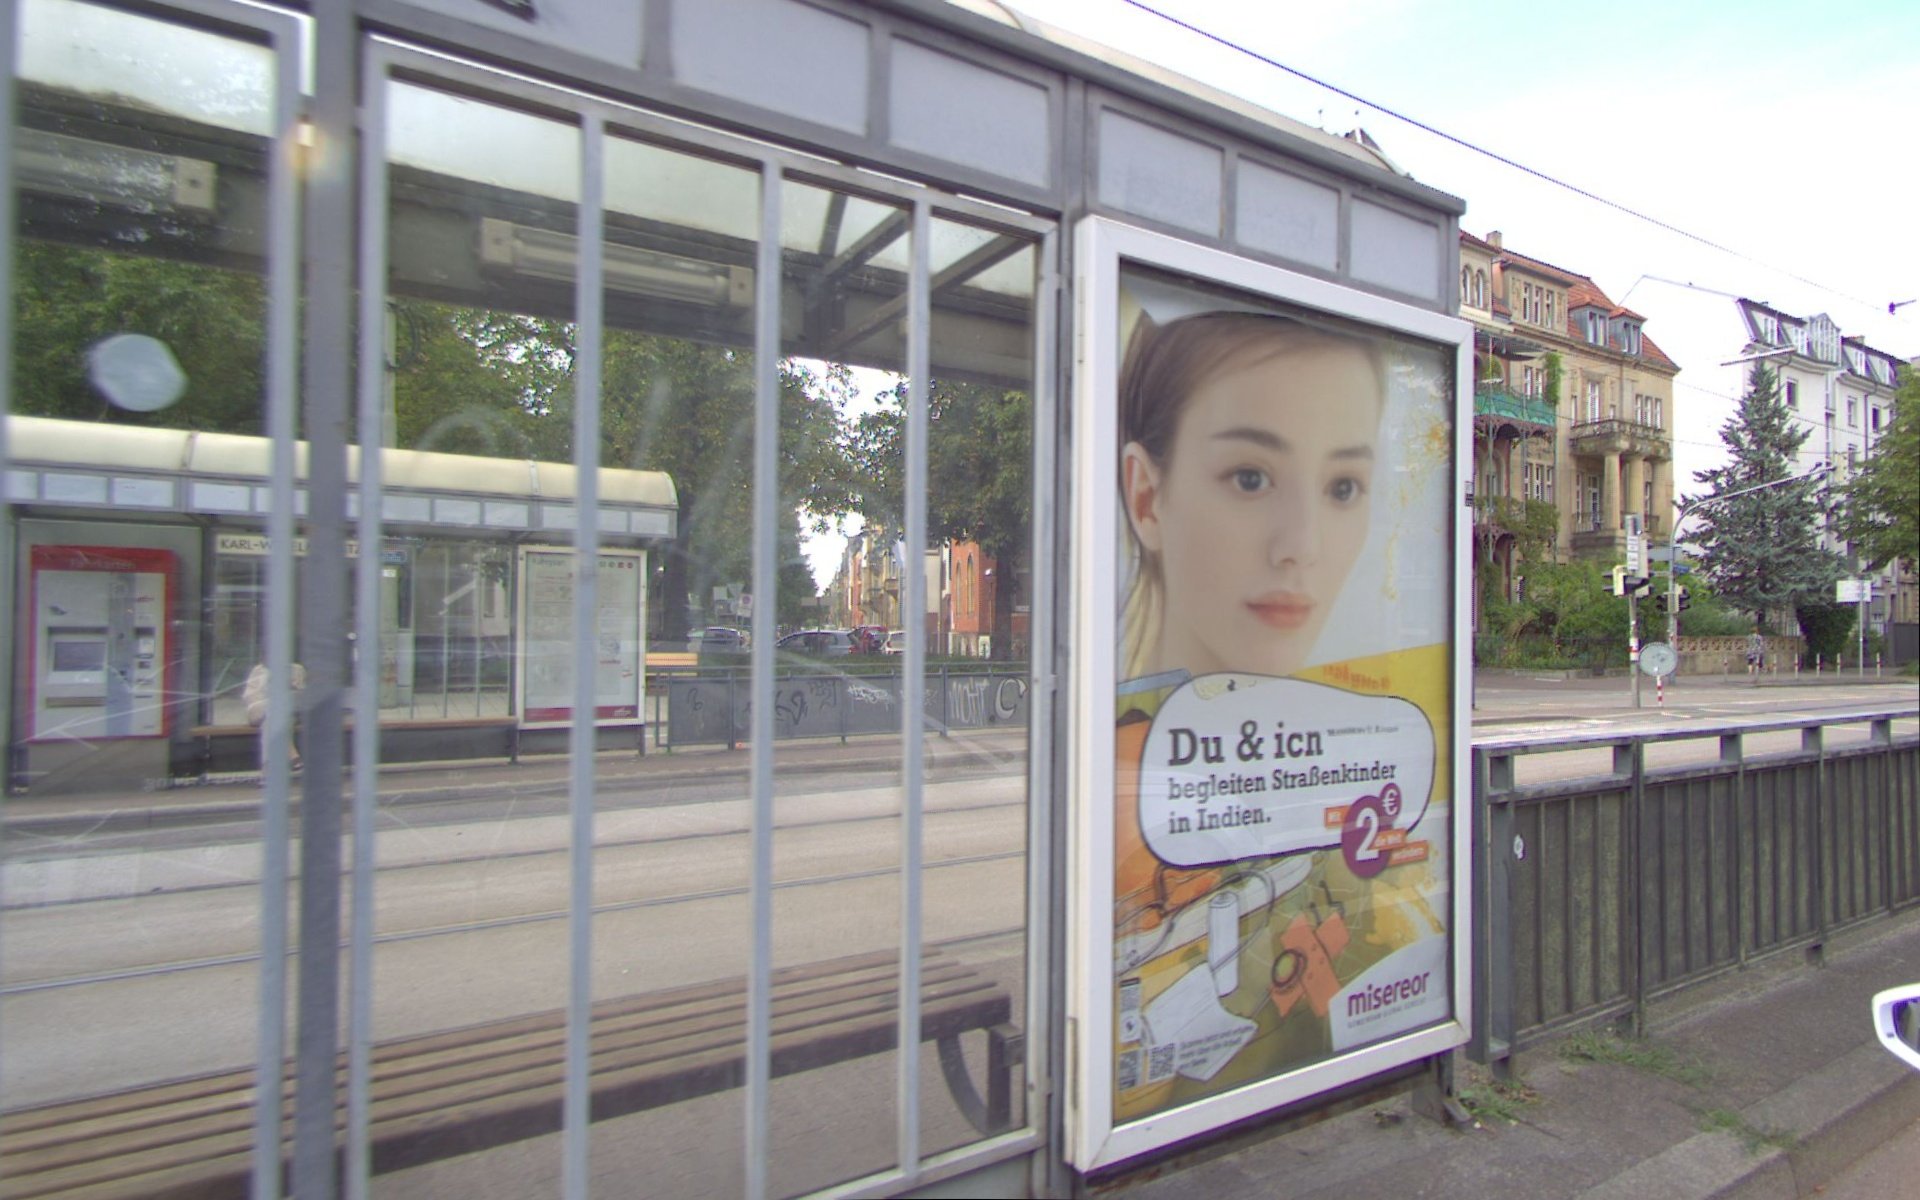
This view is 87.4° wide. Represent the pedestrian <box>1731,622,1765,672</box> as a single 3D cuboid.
[{"bbox_3d":[29.108,1.737,37.094,0.825,1.807,0.727,1,-2,-30],"label":"pedestrian"}]

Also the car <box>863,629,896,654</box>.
[{"bbox_3d":[-4.816,2.469,59.681,1.782,1.413,3.996,1,-2,-7],"label":"car"}]

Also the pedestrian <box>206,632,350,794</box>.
[{"bbox_3d":[-6.045,0.947,8.924,0.976,1.311,1.051,2,-2,-35],"label":"pedestrian"}]

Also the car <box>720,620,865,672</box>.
[{"bbox_3d":[-5.355,1.463,32.549,4.261,1.599,2.213,0,-1,1],"label":"car"}]

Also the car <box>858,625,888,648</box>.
[{"bbox_3d":[-5.660,2.364,65.155,1.782,1.413,3.996,1,-2,-7],"label":"car"}]

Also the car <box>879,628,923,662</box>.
[{"bbox_3d":[-2.789,2.068,46.624,1.782,1.497,3.996,1,-2,-7],"label":"car"}]

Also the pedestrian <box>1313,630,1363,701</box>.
[{"bbox_3d":[9.018,1.538,23.983,0.737,1.654,0.863,1,-2,-35],"label":"pedestrian"}]

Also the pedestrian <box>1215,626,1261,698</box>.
[{"bbox_3d":[6.835,1.507,24.735,0.725,1.725,0.827,1,-2,-35],"label":"pedestrian"}]

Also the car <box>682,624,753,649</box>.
[{"bbox_3d":[-14.390,2.156,59.695,3.927,1.413,1.813,1,-2,-8],"label":"car"}]

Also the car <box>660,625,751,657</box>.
[{"bbox_3d":[-11.867,1.923,47.086,3.927,1.413,1.813,1,-2,-8],"label":"car"}]
